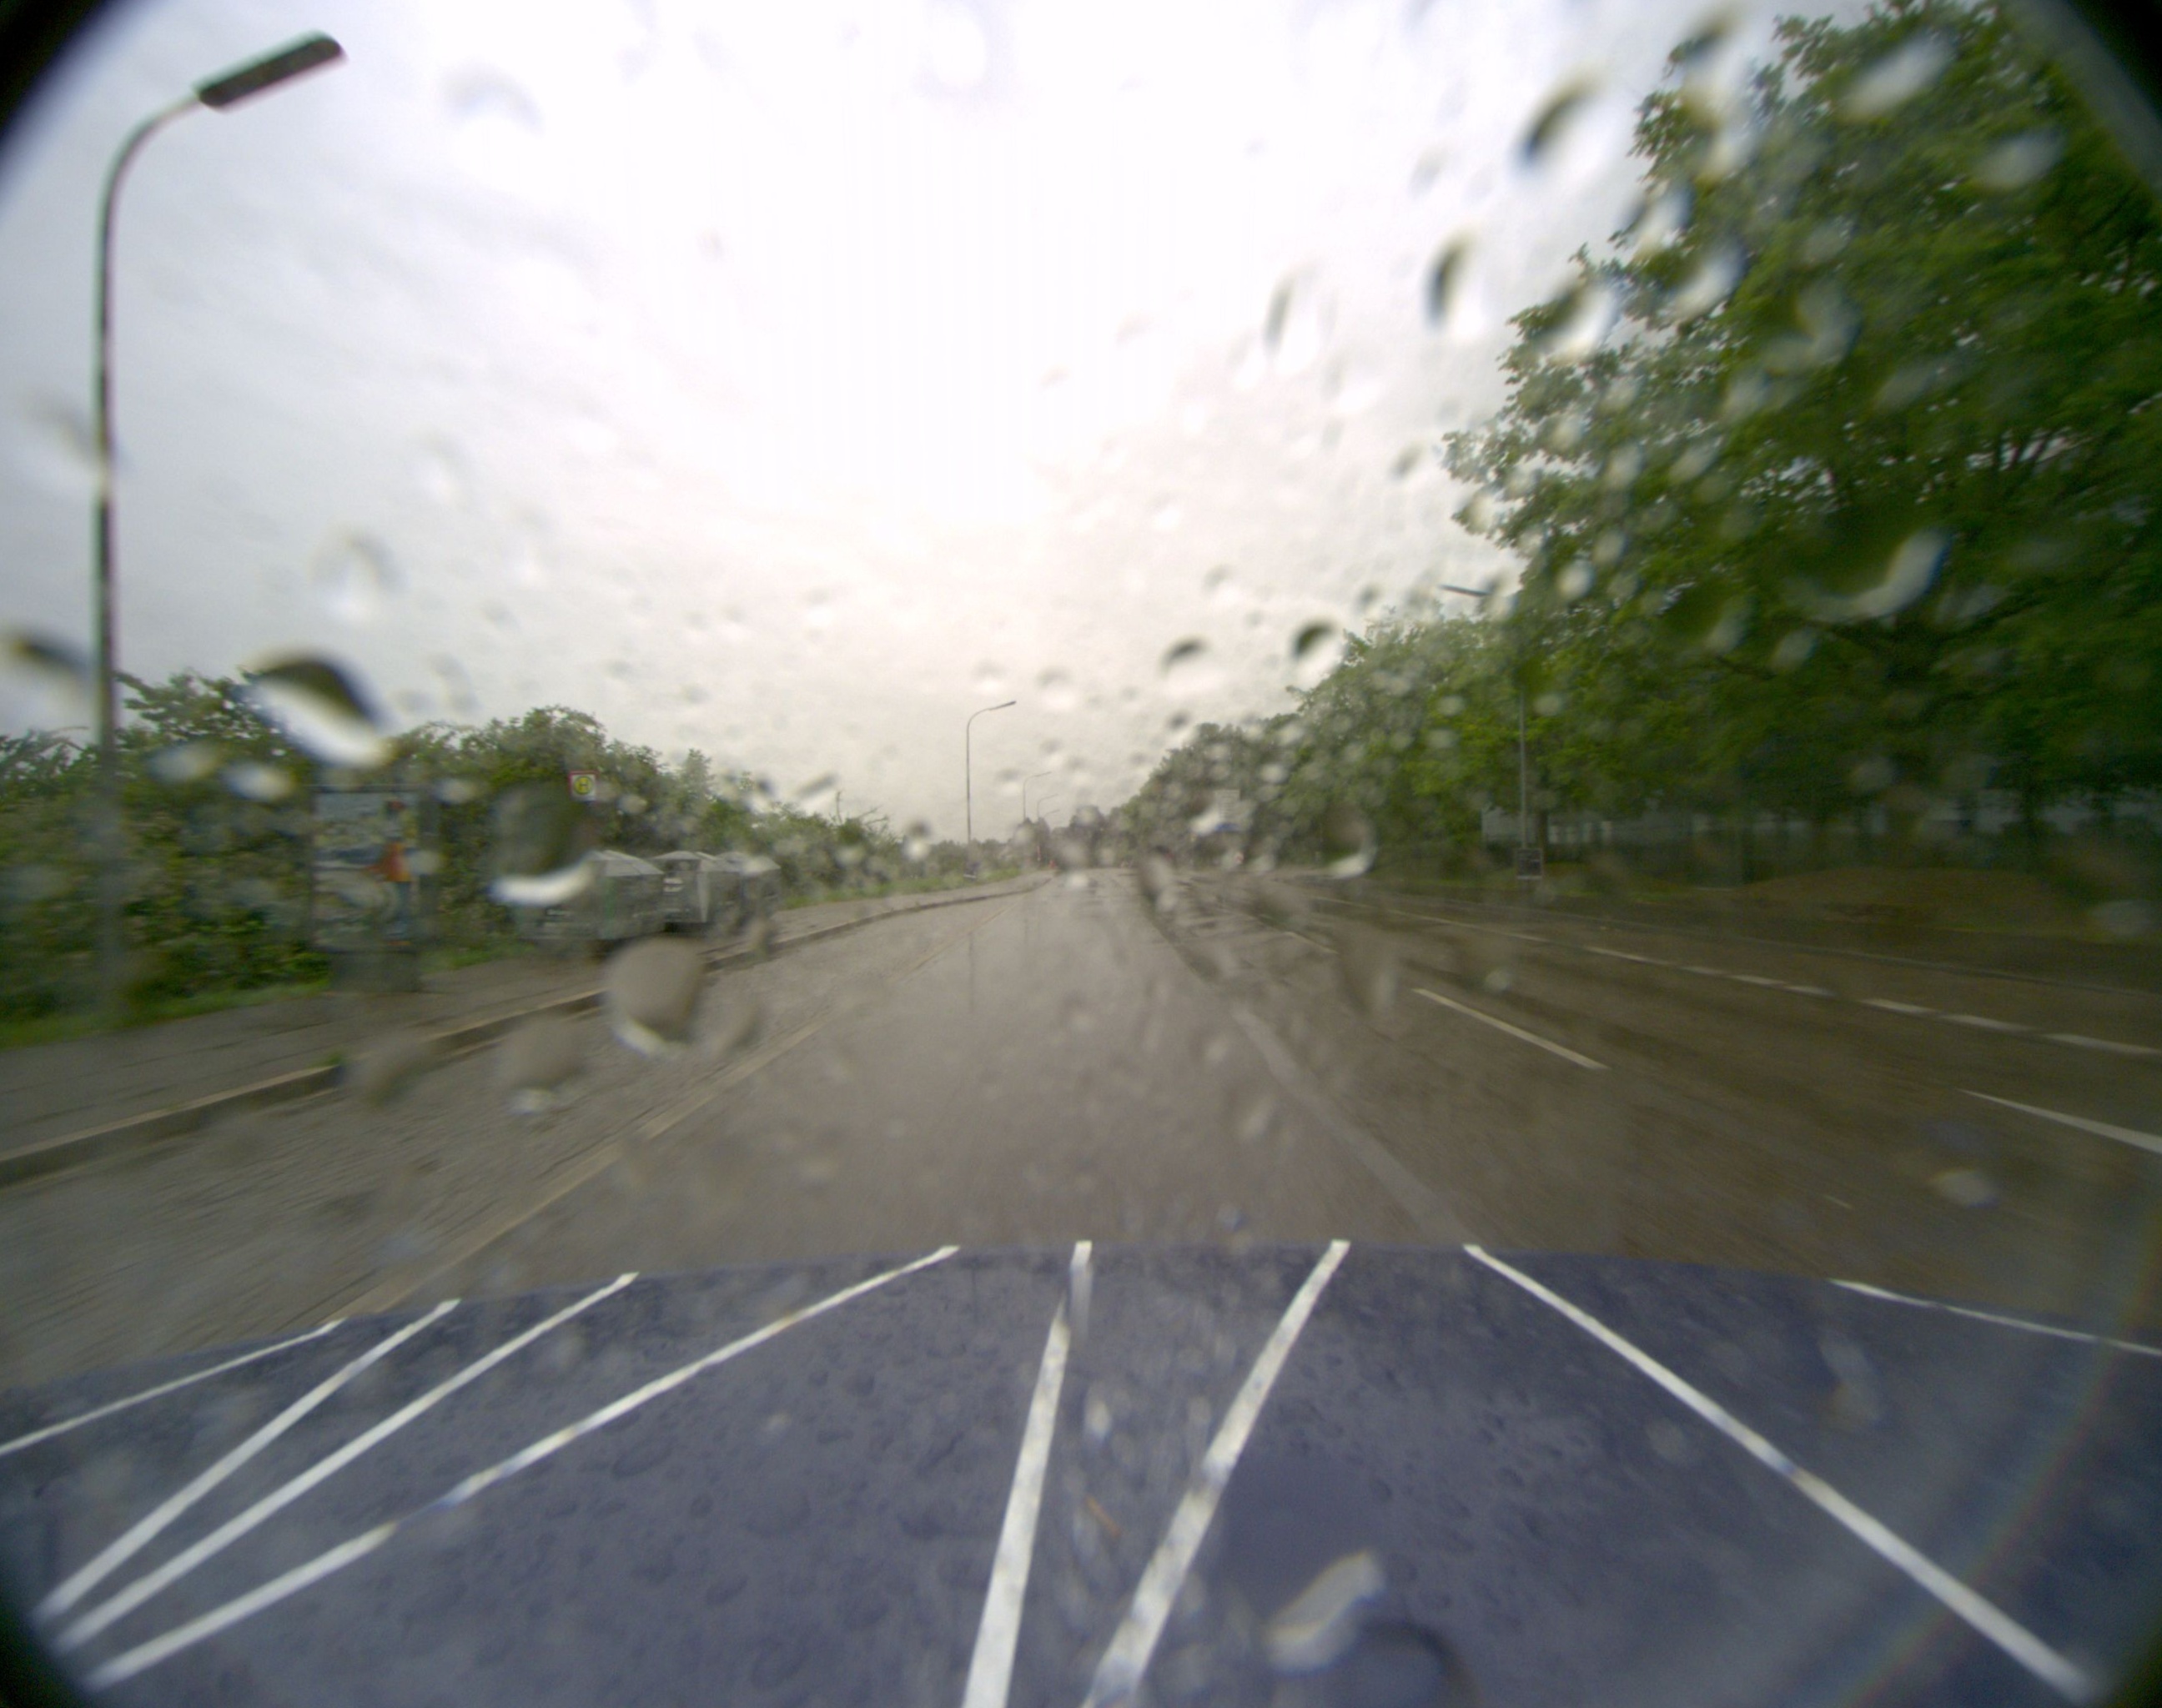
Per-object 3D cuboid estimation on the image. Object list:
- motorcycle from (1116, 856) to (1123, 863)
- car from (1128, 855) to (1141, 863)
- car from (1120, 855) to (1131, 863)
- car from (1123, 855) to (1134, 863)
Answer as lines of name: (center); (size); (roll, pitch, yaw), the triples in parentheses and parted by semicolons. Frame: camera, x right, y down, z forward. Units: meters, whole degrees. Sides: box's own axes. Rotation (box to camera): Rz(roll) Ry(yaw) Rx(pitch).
motorcycle: (7.722, 1.141, 152.940); (0.840, 1.333, 2.497); (0, 0, -8)
car: (9.690, 0.918, 136.863); (1.691, 1.411, 4.740); (0, -1, -4)
car: (8.560, 1.011, 145.897); (1.438, 1.528, 2.817); (0, 0, -10)
car: (8.869, 0.983, 142.183); (1.438, 1.411, 4.102); (0, -1, -6)
